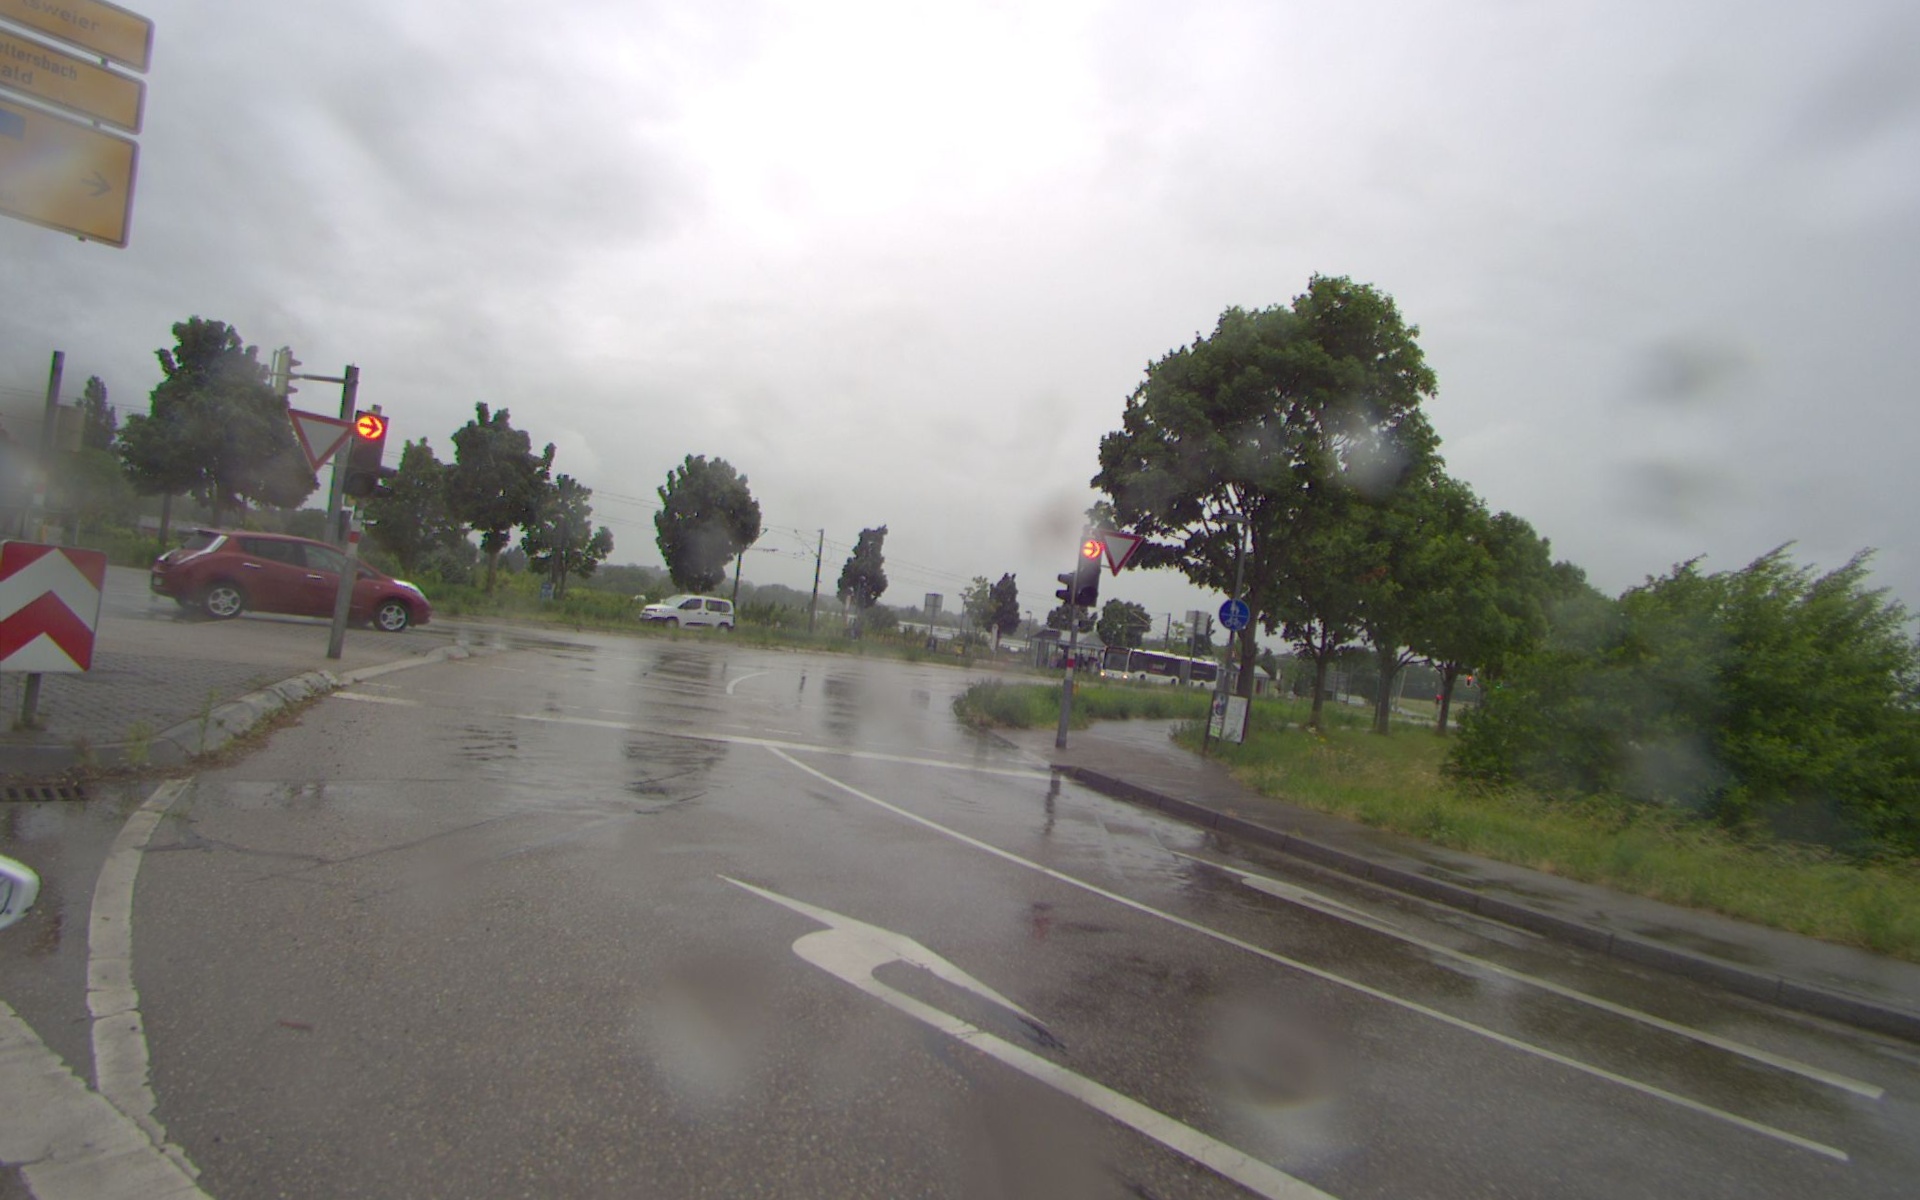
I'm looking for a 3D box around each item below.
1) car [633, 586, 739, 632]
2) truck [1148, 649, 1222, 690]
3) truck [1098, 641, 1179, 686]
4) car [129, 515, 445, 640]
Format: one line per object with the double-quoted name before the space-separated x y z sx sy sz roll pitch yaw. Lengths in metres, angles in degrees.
"car" -12.677 0.443 46.678 1.798 1.572 4.326 7 -1 43
"truck" 20.501 6.390 91.246 2.616 2.804 9.325 7 -2 38
"truck" 14.999 5.340 84.142 2.616 2.864 8.822 7 -2 38
"car" -12.141 -0.345 18.424 1.707 1.597 4.376 7 -2 38
